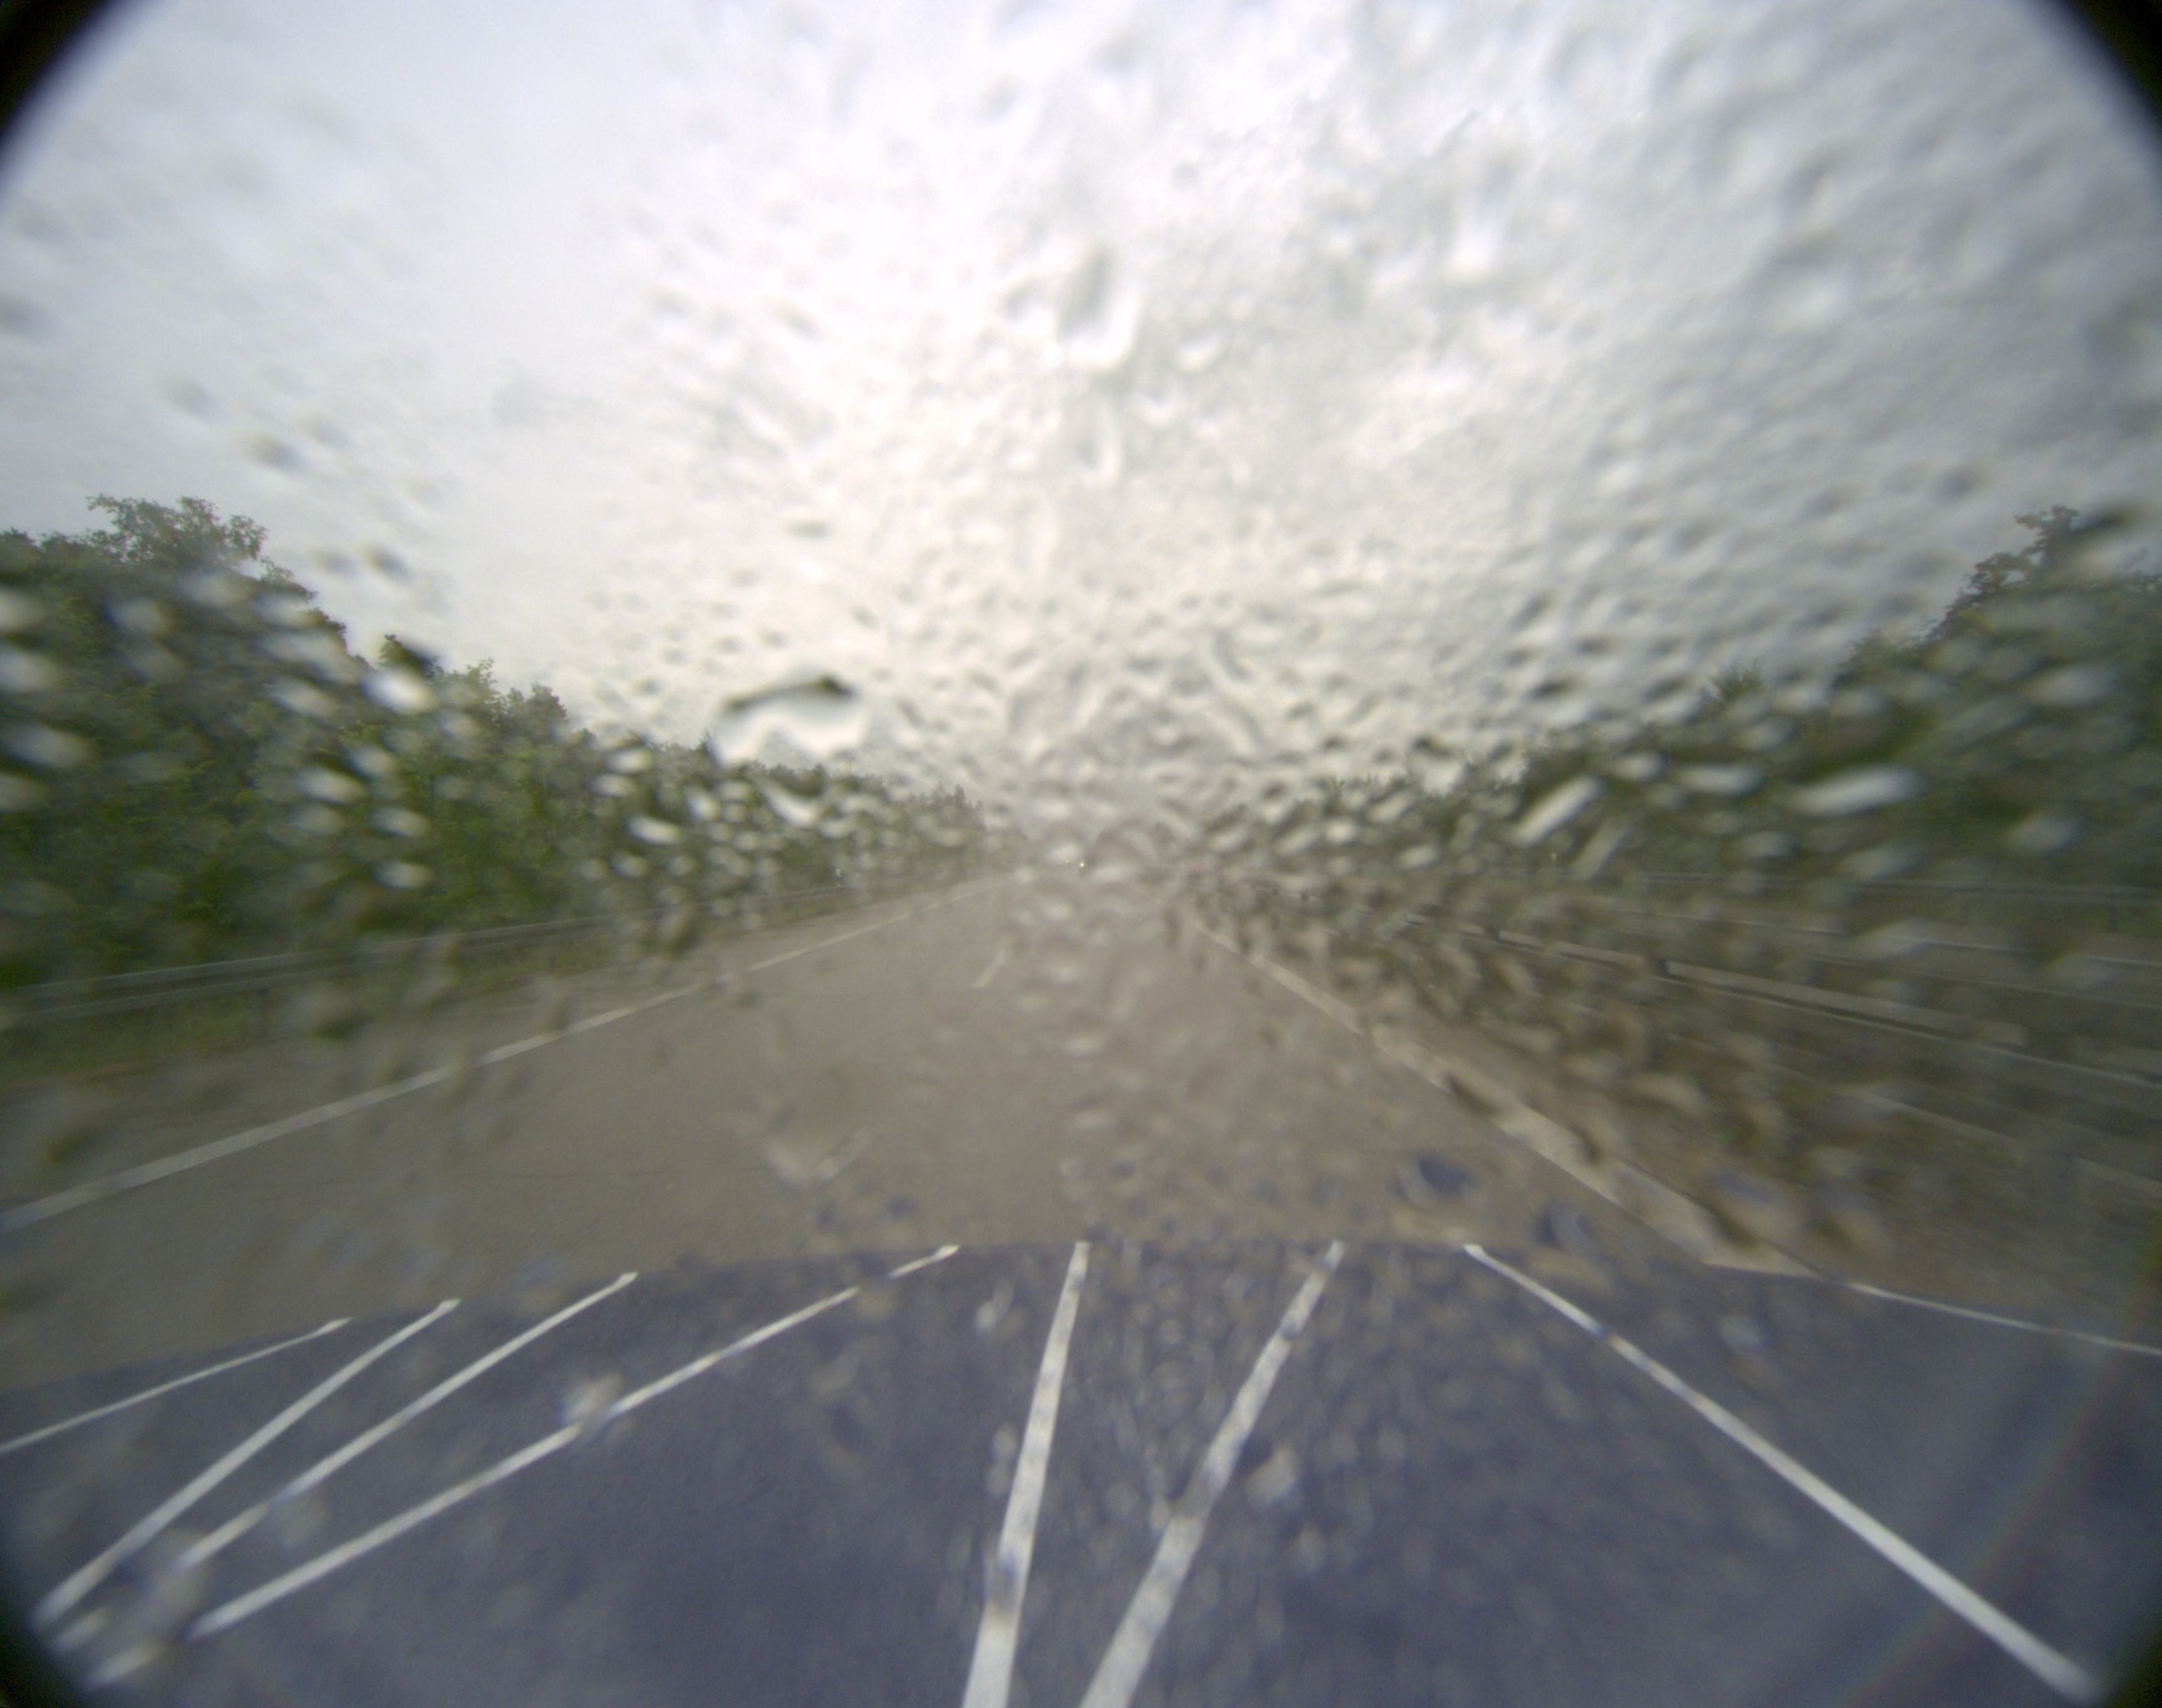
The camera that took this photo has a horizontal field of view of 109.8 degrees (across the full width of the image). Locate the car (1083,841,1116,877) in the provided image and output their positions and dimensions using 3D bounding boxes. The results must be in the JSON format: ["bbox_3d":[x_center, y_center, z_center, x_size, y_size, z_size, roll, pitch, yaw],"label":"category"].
[{"bbox_3d":[1.112,0.344,47.636,1.796,2.113,4.524,1,-1,-2],"label":"car"}]

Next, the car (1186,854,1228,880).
[{"bbox_3d":[7.334,0.757,44.542,1.768,1.455,3.847,1,-1,0],"label":"car"}]

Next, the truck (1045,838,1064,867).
[{"bbox_3d":[-3.929,-0.187,113.132,2.766,4.063,5.437,1,-1,-2],"label":"truck"}]
